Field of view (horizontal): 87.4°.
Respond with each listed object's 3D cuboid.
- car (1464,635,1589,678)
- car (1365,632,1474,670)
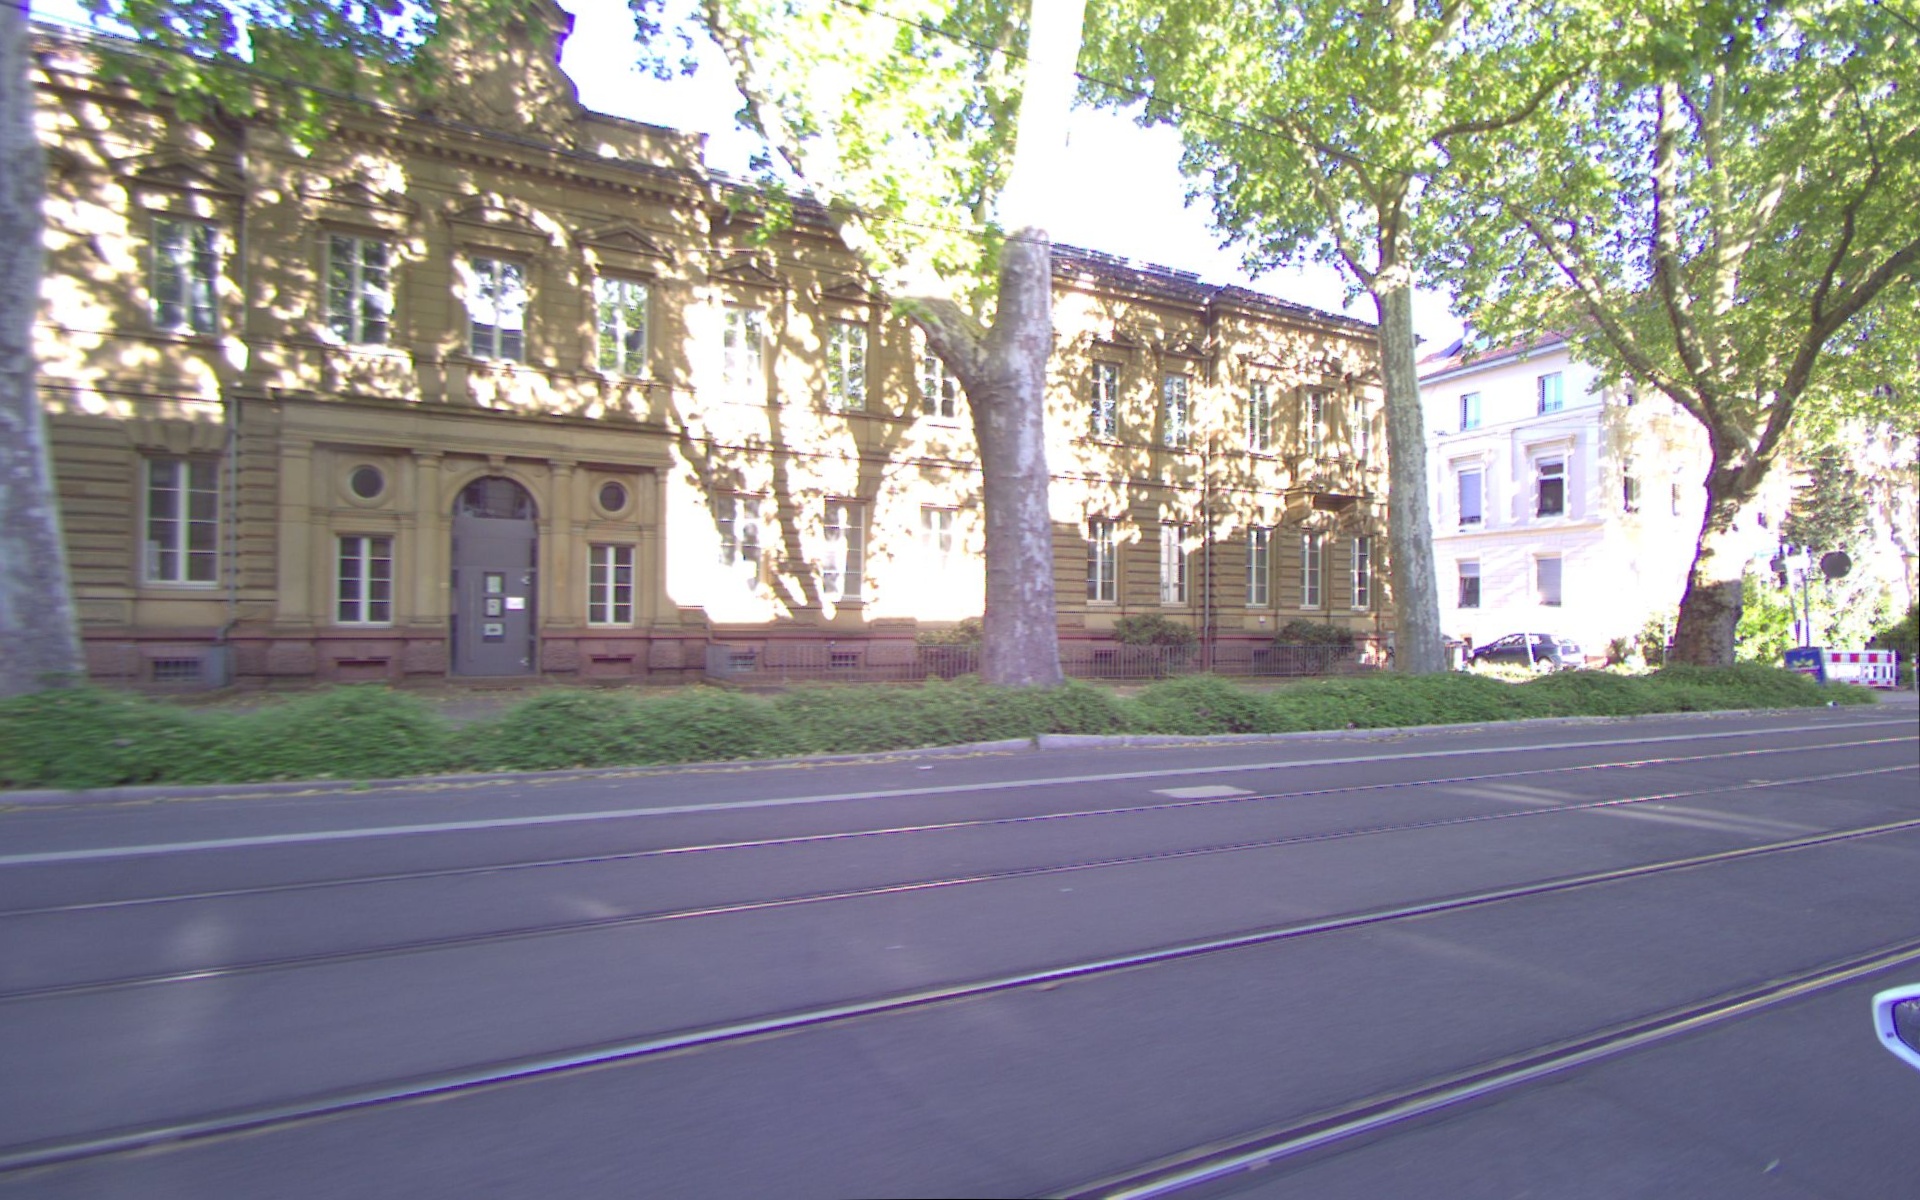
[{"bbox_3d":[20.984,2.044,37.356,1.672,1.437,3.763,-2,-1,-27],"label":"car"},{"bbox_3d":[18.954,2.066,41.617,1.672,1.437,3.905,0,-1,-27],"label":"car"}]
